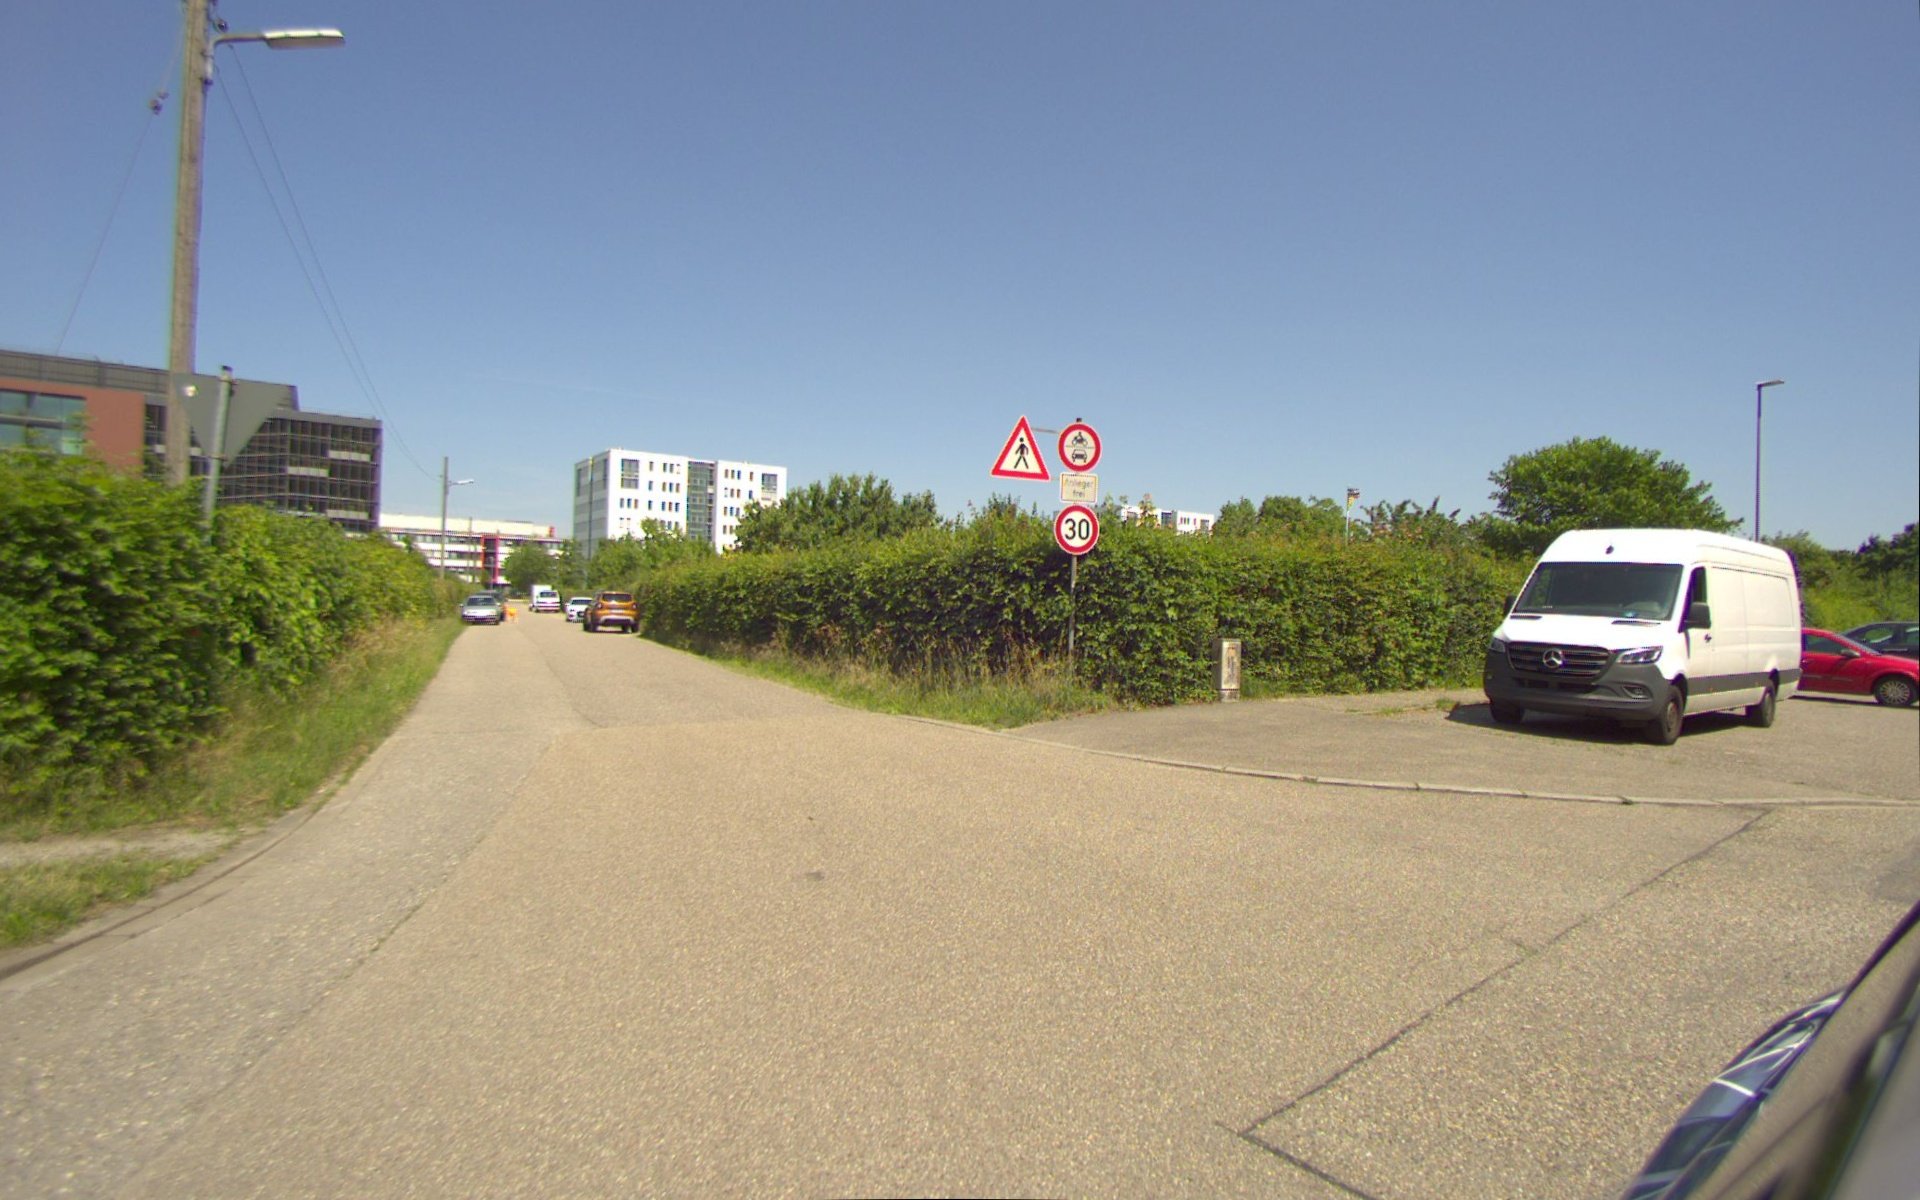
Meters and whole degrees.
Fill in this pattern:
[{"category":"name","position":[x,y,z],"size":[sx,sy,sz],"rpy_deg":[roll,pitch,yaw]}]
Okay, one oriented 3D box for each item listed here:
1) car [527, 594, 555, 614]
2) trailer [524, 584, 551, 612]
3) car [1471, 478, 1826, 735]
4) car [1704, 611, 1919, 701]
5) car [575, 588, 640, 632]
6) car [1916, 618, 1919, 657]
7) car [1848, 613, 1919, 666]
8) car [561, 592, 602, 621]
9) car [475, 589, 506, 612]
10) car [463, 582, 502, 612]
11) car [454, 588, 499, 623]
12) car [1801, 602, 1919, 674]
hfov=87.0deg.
[{"category":"car","position":[-36.943,0.363,89.156],"size":[1.813,1.556,4.475],"rpy_deg":[3,0,-27]},{"category":"trailer","position":[-39.570,-0.192,94.744],"size":[1.857,2.576,4.005],"rpy_deg":[1,0,-28]},{"category":"car","position":[9.679,0.143,13.856],"size":[7.036,2.767,1.959],"rpy_deg":[3,1,-39]},{"category":"car","position":[17.853,1.111,20.569],"size":[1.804,1.452,4.061],"rpy_deg":[3,2,-42]},{"category":"car","position":[-14.218,0.371,40.679],"size":[1.813,1.556,4.475],"rpy_deg":[3,0,-27]},{"category":"car","position":[39.123,1.570,38.743],"size":[1.558,1.522,3.399],"rpy_deg":[3,1,-36]},{"category":"car","position":[31.879,1.389,32.912],"size":[1.734,1.597,4.285],"rpy_deg":[3,2,-41]},{"category":"car","position":[-22.397,0.355,59.803],"size":[1.812,1.556,4.476],"rpy_deg":[3,0,-25]},{"category":"car","position":[-34.435,0.008,74.237],"size":[1.813,1.556,4.475],"rpy_deg":[3,0,-27]},{"category":"car","position":[-27.385,-0.175,57.988],"size":[1.813,1.556,4.475],"rpy_deg":[3,0,-27]},{"category":"car","position":[-23.662,0.241,49.457],"size":[1.813,1.556,4.475],"rpy_deg":[3,0,-27]},{"category":"car","position":[27.181,1.132,29.033],"size":[1.920,1.827,4.459],"rpy_deg":[2,2,-44]}]
